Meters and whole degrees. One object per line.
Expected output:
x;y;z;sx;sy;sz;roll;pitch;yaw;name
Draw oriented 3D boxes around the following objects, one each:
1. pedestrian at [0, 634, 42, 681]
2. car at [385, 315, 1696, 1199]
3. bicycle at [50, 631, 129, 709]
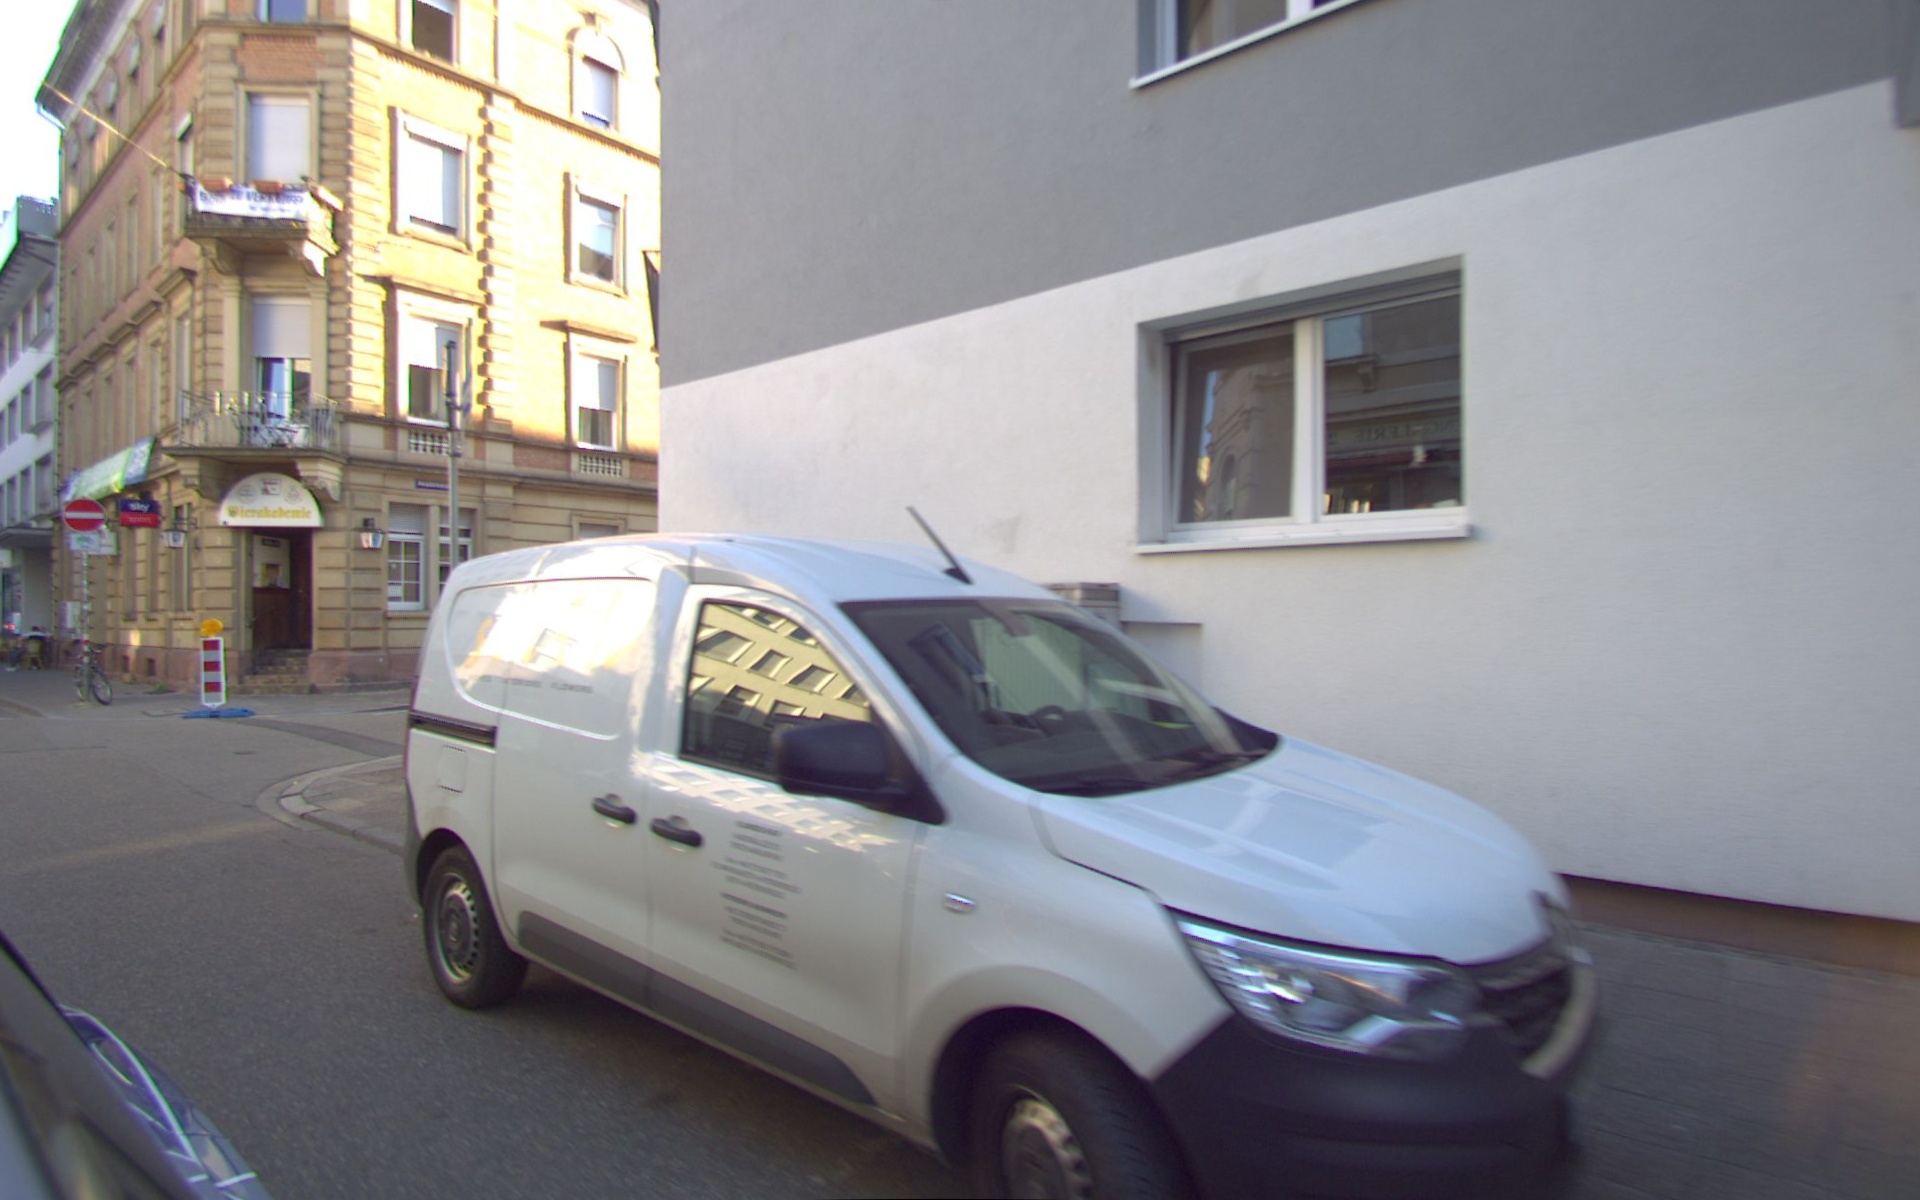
-27.258;1.657;29.306;0.824;1.350;0.808;1;-2;-29;pedestrian
-0.203;0.576;3.377;4.181;1.827;1.614;-2;-2;40;car
-15.330;1.205;17.813;1.760;1.285;0.653;-2;1;37;bicycle
